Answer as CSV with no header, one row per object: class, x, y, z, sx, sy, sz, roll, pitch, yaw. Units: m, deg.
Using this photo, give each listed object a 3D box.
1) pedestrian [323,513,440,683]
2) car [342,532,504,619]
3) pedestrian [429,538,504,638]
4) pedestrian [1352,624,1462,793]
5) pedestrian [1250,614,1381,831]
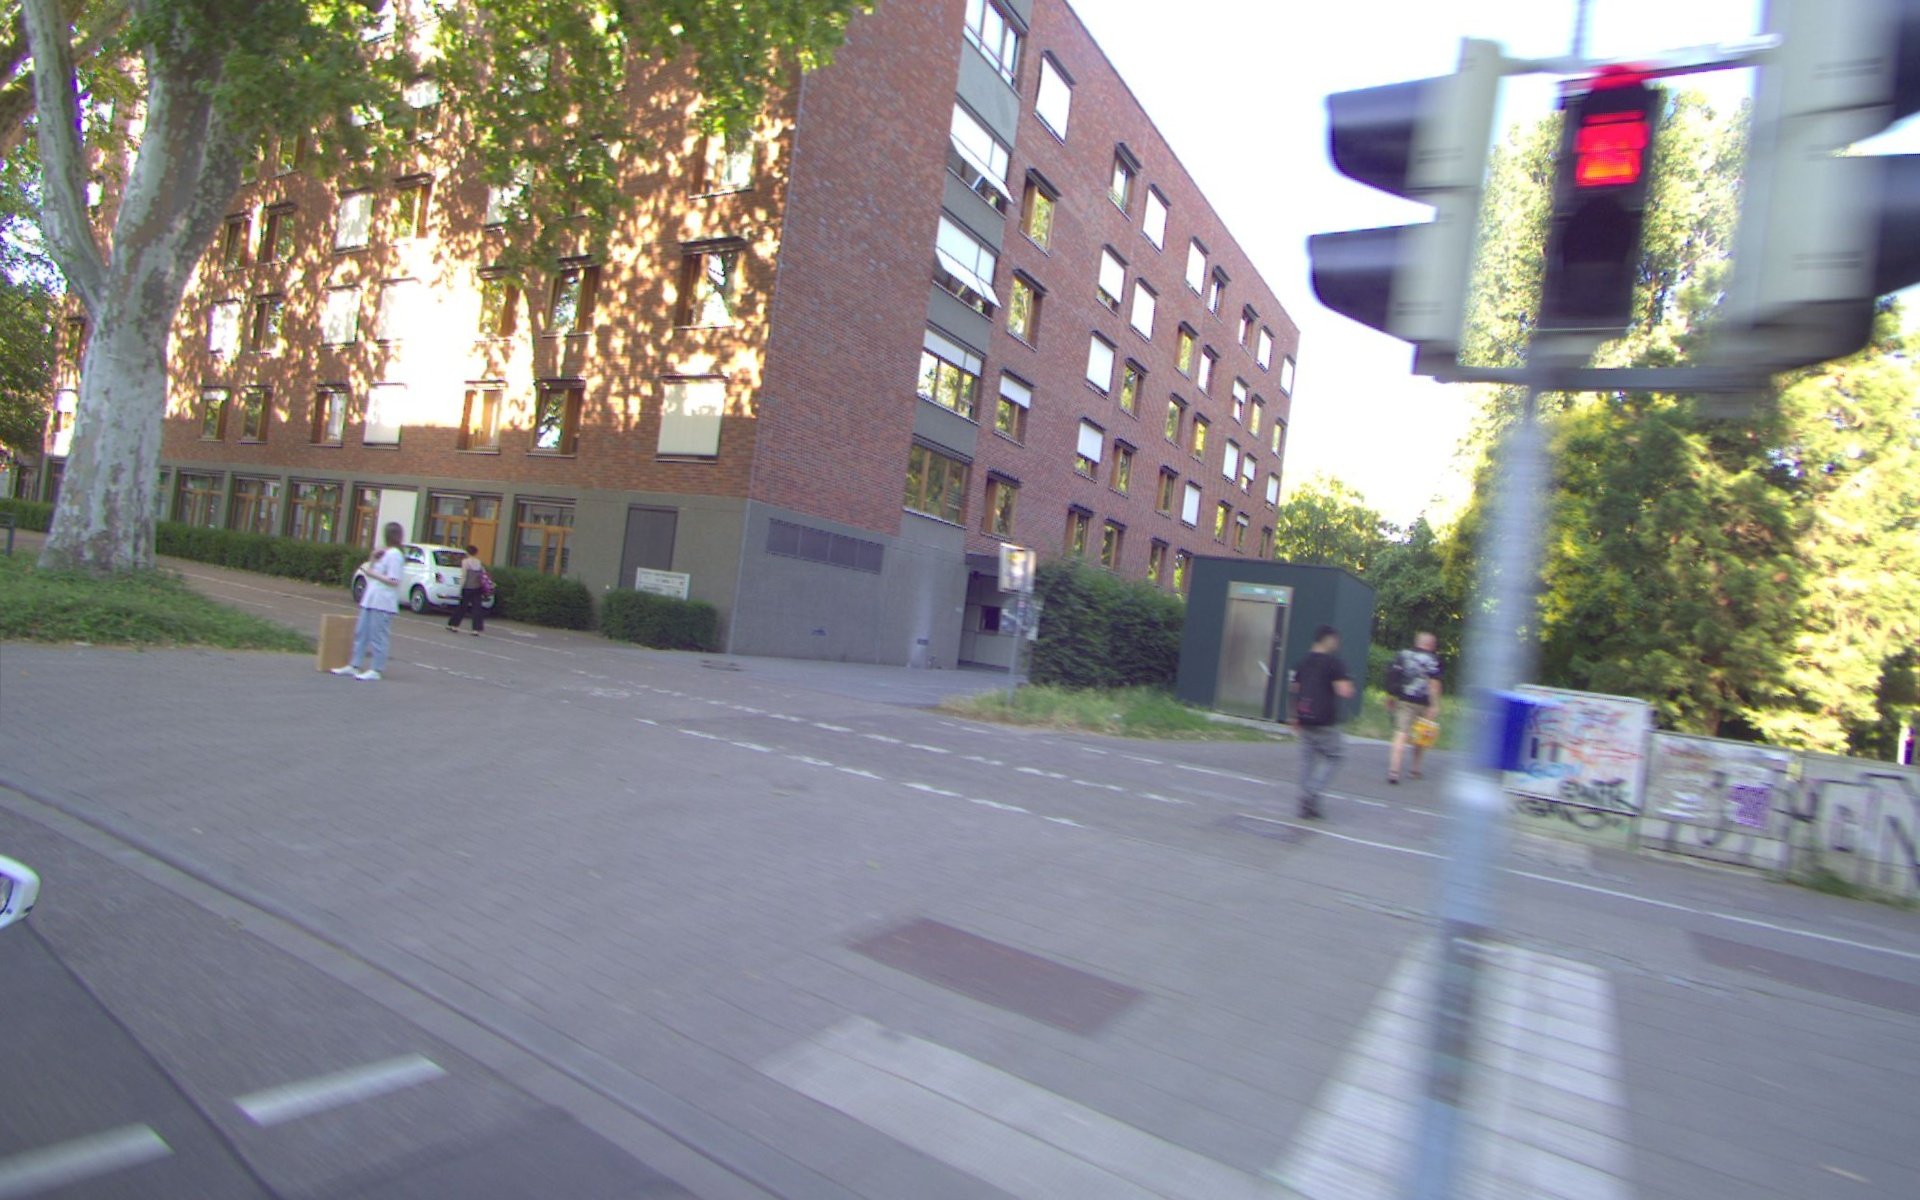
pedestrian,-6.145,-0.017,10.696,0.726,1.689,0.653,7,0,32
car,-12.075,-0.557,22.587,3.360,1.513,1.603,7,-1,31
pedestrian,-8.987,-0.213,18.326,0.821,1.689,0.736,7,0,32
pedestrian,5.571,1.295,12.507,0.998,1.889,0.983,7,3,27
pedestrian,3.391,1.125,9.547,0.849,1.833,0.996,7,0,27
